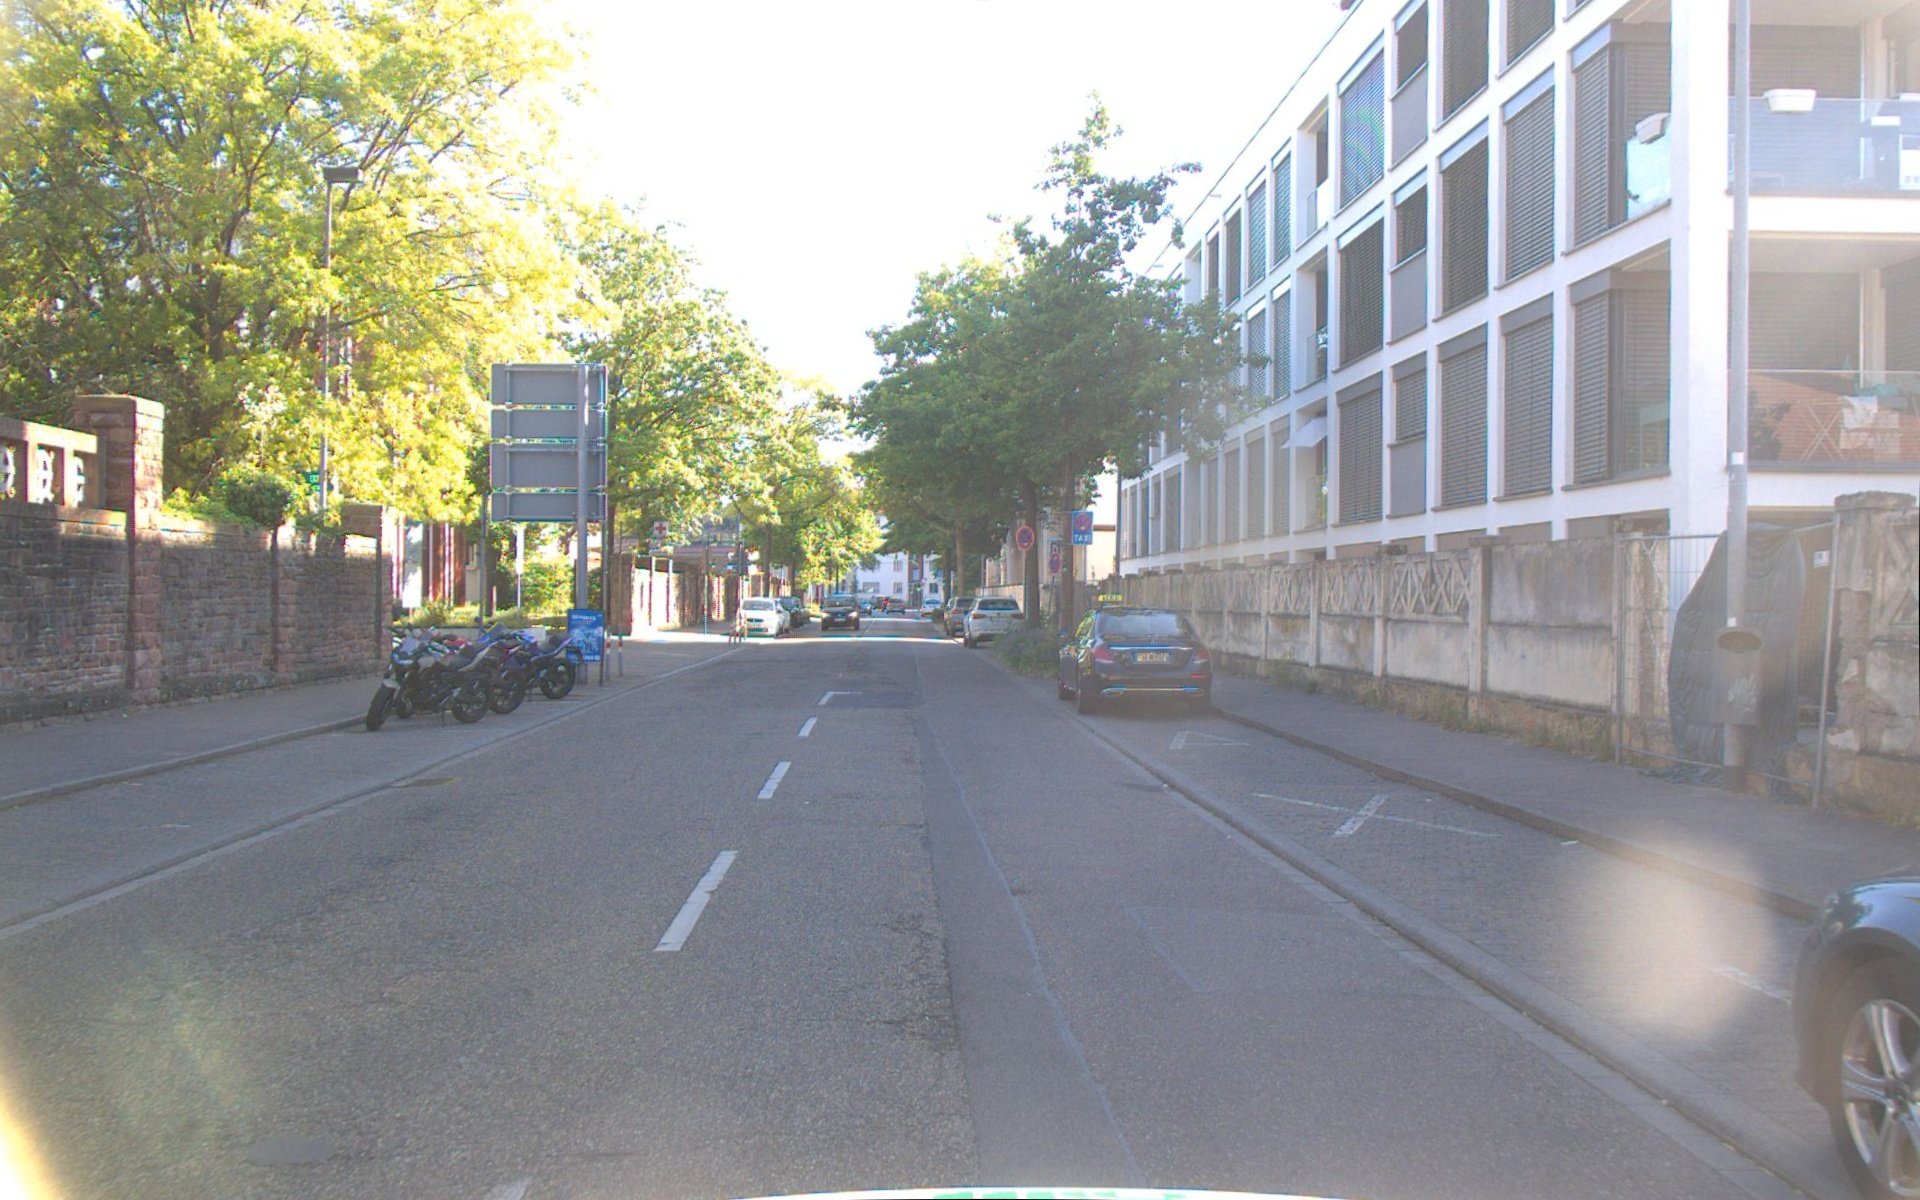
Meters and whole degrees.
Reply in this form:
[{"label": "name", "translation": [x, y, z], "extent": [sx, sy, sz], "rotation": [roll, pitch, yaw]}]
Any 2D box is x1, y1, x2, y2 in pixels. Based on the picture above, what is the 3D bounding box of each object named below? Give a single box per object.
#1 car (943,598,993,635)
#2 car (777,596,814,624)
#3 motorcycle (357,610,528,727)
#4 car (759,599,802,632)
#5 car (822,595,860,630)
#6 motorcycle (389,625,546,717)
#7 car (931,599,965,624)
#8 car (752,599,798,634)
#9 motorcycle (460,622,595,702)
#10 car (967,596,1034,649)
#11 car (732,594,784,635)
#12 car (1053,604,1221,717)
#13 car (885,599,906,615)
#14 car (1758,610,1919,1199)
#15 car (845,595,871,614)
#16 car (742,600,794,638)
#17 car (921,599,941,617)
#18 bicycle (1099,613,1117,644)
[{"label": "car", "translation": [0.296, 0.660, 68.293], "extent": [1.953, 1.491, 3.835], "rotation": [1, 0, -2]}, {"label": "car", "translation": [-9.444, 0.560, 95.248], "extent": [1.869, 1.557, 3.998], "rotation": [1, 0, -3]}, {"label": "motorcycle", "translation": [-6.127, 0.777, 19.707], "extent": [0.565, 1.298, 2.117], "rotation": [0, 0, 30]}, {"label": "car", "translation": [-8.890, 0.752, 82.201], "extent": [1.869, 1.557, 3.998], "rotation": [1, 0, -3]}, {"label": "car", "translation": [-5.509, 0.568, 76.966], "extent": [1.620, 1.557, 3.998], "rotation": [1, 0, -2]}, {"label": "motorcycle", "translation": [-6.263, 0.878, 21.157], "extent": [0.565, 1.093, 2.117], "rotation": [0, 0, 30]}, {"label": "car", "translation": [-0.723, 0.678, 99.049], "extent": [1.953, 1.450, 3.835], "rotation": [1, 0, -2]}, {"label": "car", "translation": [-8.690, 0.757, 78.066], "extent": [1.869, 1.557, 3.998], "rotation": [1, 0, -3]}, {"label": "motorcycle", "translation": [-6.266, 0.875, 24.068], "extent": [0.565, 1.093, 2.117], "rotation": [0, 0, 30]}, {"label": "car", "translation": [1.257, 0.677, 52.448], "extent": [1.911, 1.606, 3.835], "rotation": [1, 0, -2]}, {"label": "car", "translation": [-7.807, 0.543, 64.138], "extent": [1.732, 1.513, 3.997], "rotation": [0, 0, -4]}, {"label": "car", "translation": [2.435, 0.799, 23.640], "extent": [1.732, 1.465, 3.997], "rotation": [0, 0, -4]}, {"label": "car", "translation": [-5.860, 0.621, 151.127], "extent": [1.851, 1.424, 3.835], "rotation": [1, 0, -2]}, {"label": "car", "translation": [3.278, 0.794, 2.482], "extent": [1.669, 1.494, 4.786], "rotation": [1, 0, -3]}, {"label": "car", "translation": [-8.513, 0.360, 138.097], "extent": [1.953, 1.478, 3.999], "rotation": [0, 0, -1]}, {"label": "car", "translation": [-8.106, 0.772, 70.056], "extent": [1.869, 1.557, 3.998], "rotation": [1, 0, -3]}, {"label": "car", "translation": [-2.362, 0.638, 133.317], "extent": [1.553, 1.424, 3.835], "rotation": [1, 0, -2]}, {"label": "bicycle", "translation": [4.207, 0.810, 46.942], "extent": [0.349, 0.856, 1.324], "rotation": [1, 0, -2]}]
